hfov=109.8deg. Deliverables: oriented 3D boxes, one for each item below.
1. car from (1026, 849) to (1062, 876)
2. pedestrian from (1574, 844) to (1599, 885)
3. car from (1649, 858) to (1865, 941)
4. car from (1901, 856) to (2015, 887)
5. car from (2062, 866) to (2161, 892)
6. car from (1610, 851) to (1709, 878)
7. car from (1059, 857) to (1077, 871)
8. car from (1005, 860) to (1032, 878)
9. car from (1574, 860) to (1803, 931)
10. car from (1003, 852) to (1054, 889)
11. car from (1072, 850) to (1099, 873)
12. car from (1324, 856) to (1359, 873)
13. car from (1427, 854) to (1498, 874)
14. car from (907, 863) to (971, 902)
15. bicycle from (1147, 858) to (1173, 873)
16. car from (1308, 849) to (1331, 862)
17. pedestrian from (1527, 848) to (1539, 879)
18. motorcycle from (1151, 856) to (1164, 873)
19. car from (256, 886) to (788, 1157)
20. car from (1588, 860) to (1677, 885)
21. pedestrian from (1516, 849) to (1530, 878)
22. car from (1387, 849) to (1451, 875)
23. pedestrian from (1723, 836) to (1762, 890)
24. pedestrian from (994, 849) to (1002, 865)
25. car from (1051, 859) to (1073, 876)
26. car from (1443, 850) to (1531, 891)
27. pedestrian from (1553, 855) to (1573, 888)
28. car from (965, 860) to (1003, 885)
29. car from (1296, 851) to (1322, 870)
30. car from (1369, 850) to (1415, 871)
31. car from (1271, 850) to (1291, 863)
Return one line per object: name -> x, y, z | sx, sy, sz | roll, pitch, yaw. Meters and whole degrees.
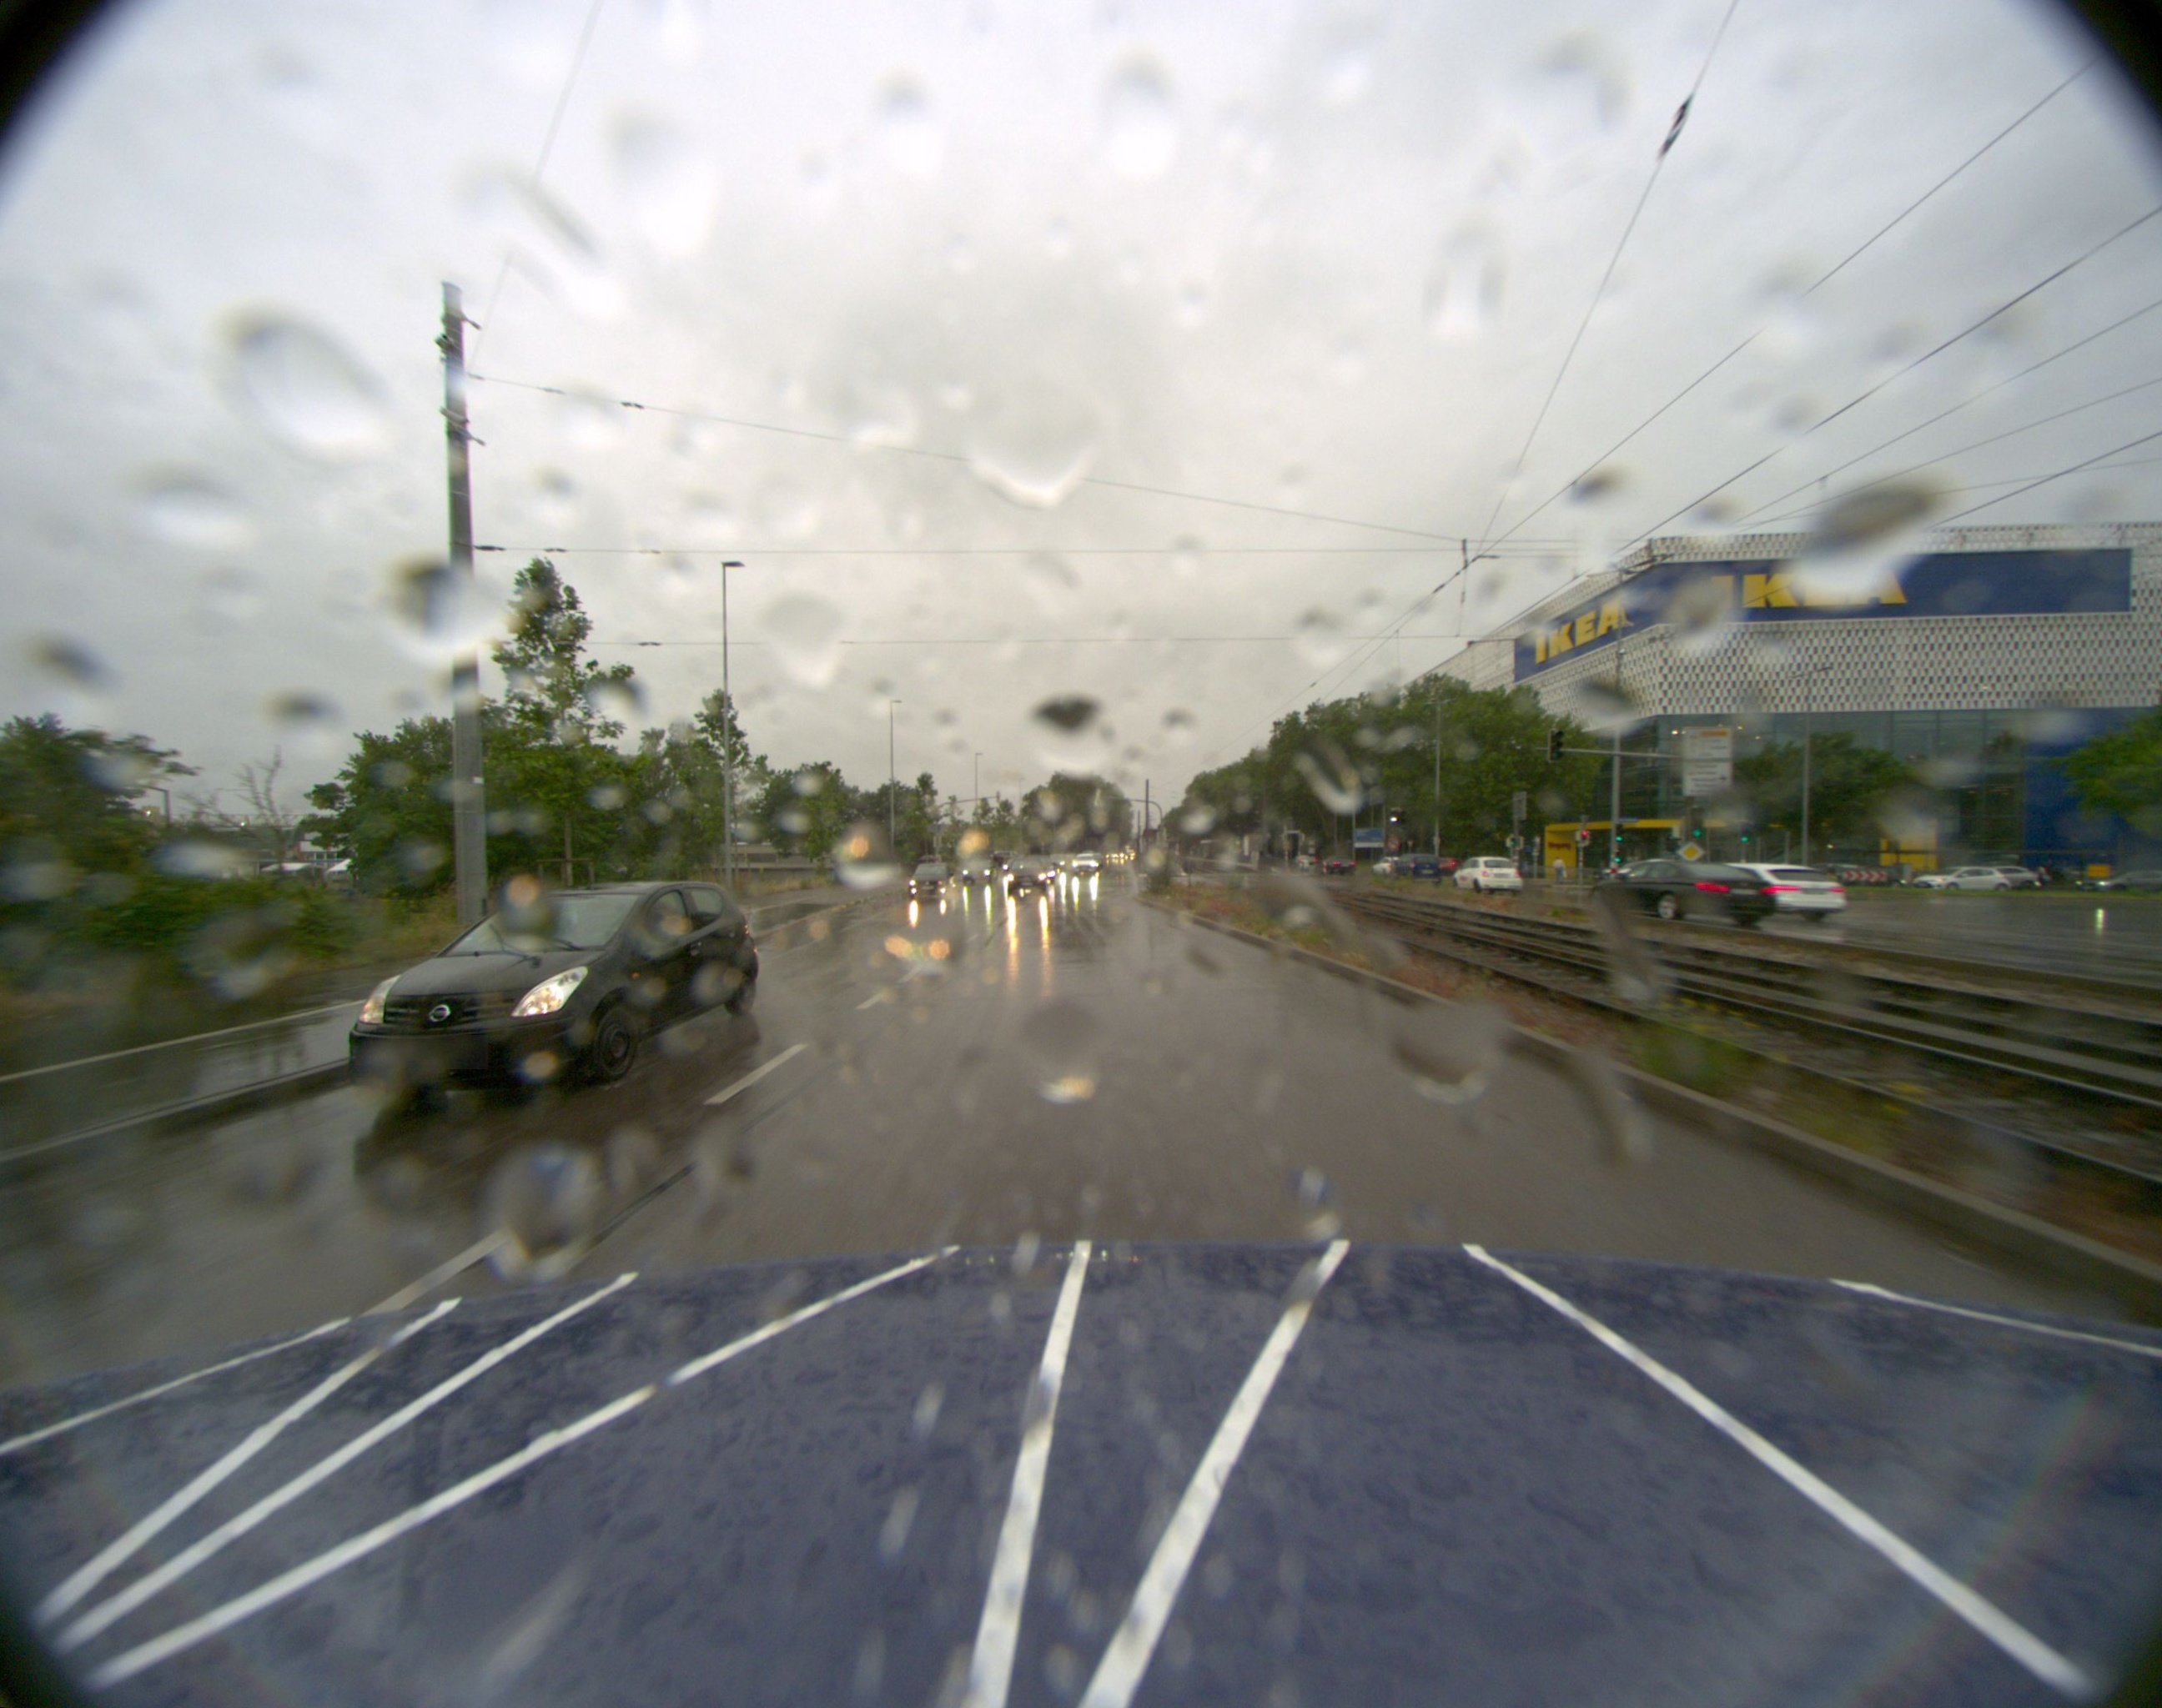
car -> -2.211, 0.537, 46.755 | 1.715, 1.515, 4.044 | -2, 0, 3
pedestrian -> 28.903, 0.610, 43.439 | 0.919, 2.232, 0.990 | -2, 3, 17
car -> 18.574, 1.144, 21.251 | 1.998, 1.891, 4.791 | -2, 1, 4
car -> 50.718, 1.020, 44.015 | 4.105, 1.594, 2.000 | -2, 1, 5
car -> 63.077, 1.508, 46.468 | 3.820, 1.399, 1.603 | -2, 1, 6
car -> 34.879, 0.638, 45.912 | 4.458, 1.532, 1.820 | -1, 0, 6
car -> -1.478, 1.144, 88.736 | 1.715, 1.515, 4.044 | -2, 0, 3
car -> -5.571, 1.297, 68.030 | 1.715, 1.515, 4.179 | -2, -1, 3
car -> 14.816, 0.917, 19.026 | 1.927, 1.415, 5.085 | 3, 0, 5
car -> -2.403, 0.765, 35.796 | 1.876, 1.573, 4.044 | -2, 0, 2
car -> 0.406, 0.618, 63.145 | 1.993, 1.778, 4.554 | -2, 0, 3
car -> 20.171, 0.780, 58.967 | 1.715, 1.242, 4.049 | -2, -1, 6
car -> 32.349, 0.853, 64.625 | 2.003, 1.558, 5.049 | -2, -1, -33
car -> -6.019, 1.167, 32.636 | 1.715, 1.476, 4.044 | -2, -1, 3
bicycle -> 5.880, 0.835, 56.664 | 1.870, 1.002, 0.670 | -3, 0, 2
car -> 25.974, 0.189, 82.943 | 1.585, 1.406, 3.917 | -2, -1, 5
pedestrian -> 30.988, 0.656, 52.101 | 0.570, 2.122, 0.634 | -3, 0, 35
motorcycle -> 5.664, 0.754, 56.074 | 0.527, 1.214, 1.403 | -3, 0, 24
car -> -4.196, 1.104, 6.698 | 1.777, 1.453, 4.091 | -2, -1, -3
car -> 35.588, 1.172, 49.110 | 4.283, 1.532, 1.820 | 0, 0, 6
pedestrian -> 30.527, 0.670, 52.487 | 0.693, 2.002, 0.629 | -3, 0, 35
car -> 17.941, 0.405, 40.602 | 1.716, 1.242, 4.463 | -2, -1, 5
pedestrian -> 25.109, 0.322, 28.855 | 0.696, 2.002, 0.857 | -2, 2, -3
pedestrian -> -8.264, 0.260, 75.631 | 0.734, 1.602, 0.618 | 0, 2, 3
car -> -1.851, 1.316, 74.967 | 1.715, 1.515, 4.044 | -2, 0, 3
car -> 16.502, 0.654, 31.107 | 1.716, 1.526, 4.049 | -2, 0, 6
pedestrian -> 30.357, 1.079, 47.905 | 0.783, 2.002, 0.858 | -2, 2, 11
car -> -6.281, 1.151, 49.767 | 1.715, 1.515, 4.044 | -2, 0, 3
car -> 21.830, 0.594, 72.918 | 1.715, 1.698, 4.432 | -2, 0, 8
car -> 22.822, 0.491, 55.900 | 1.816, 1.427, 4.715 | -2, -1, 5
car -> 22.441, 0.314, 85.335 | 1.585, 1.358, 4.204 | -2, -1, 8
